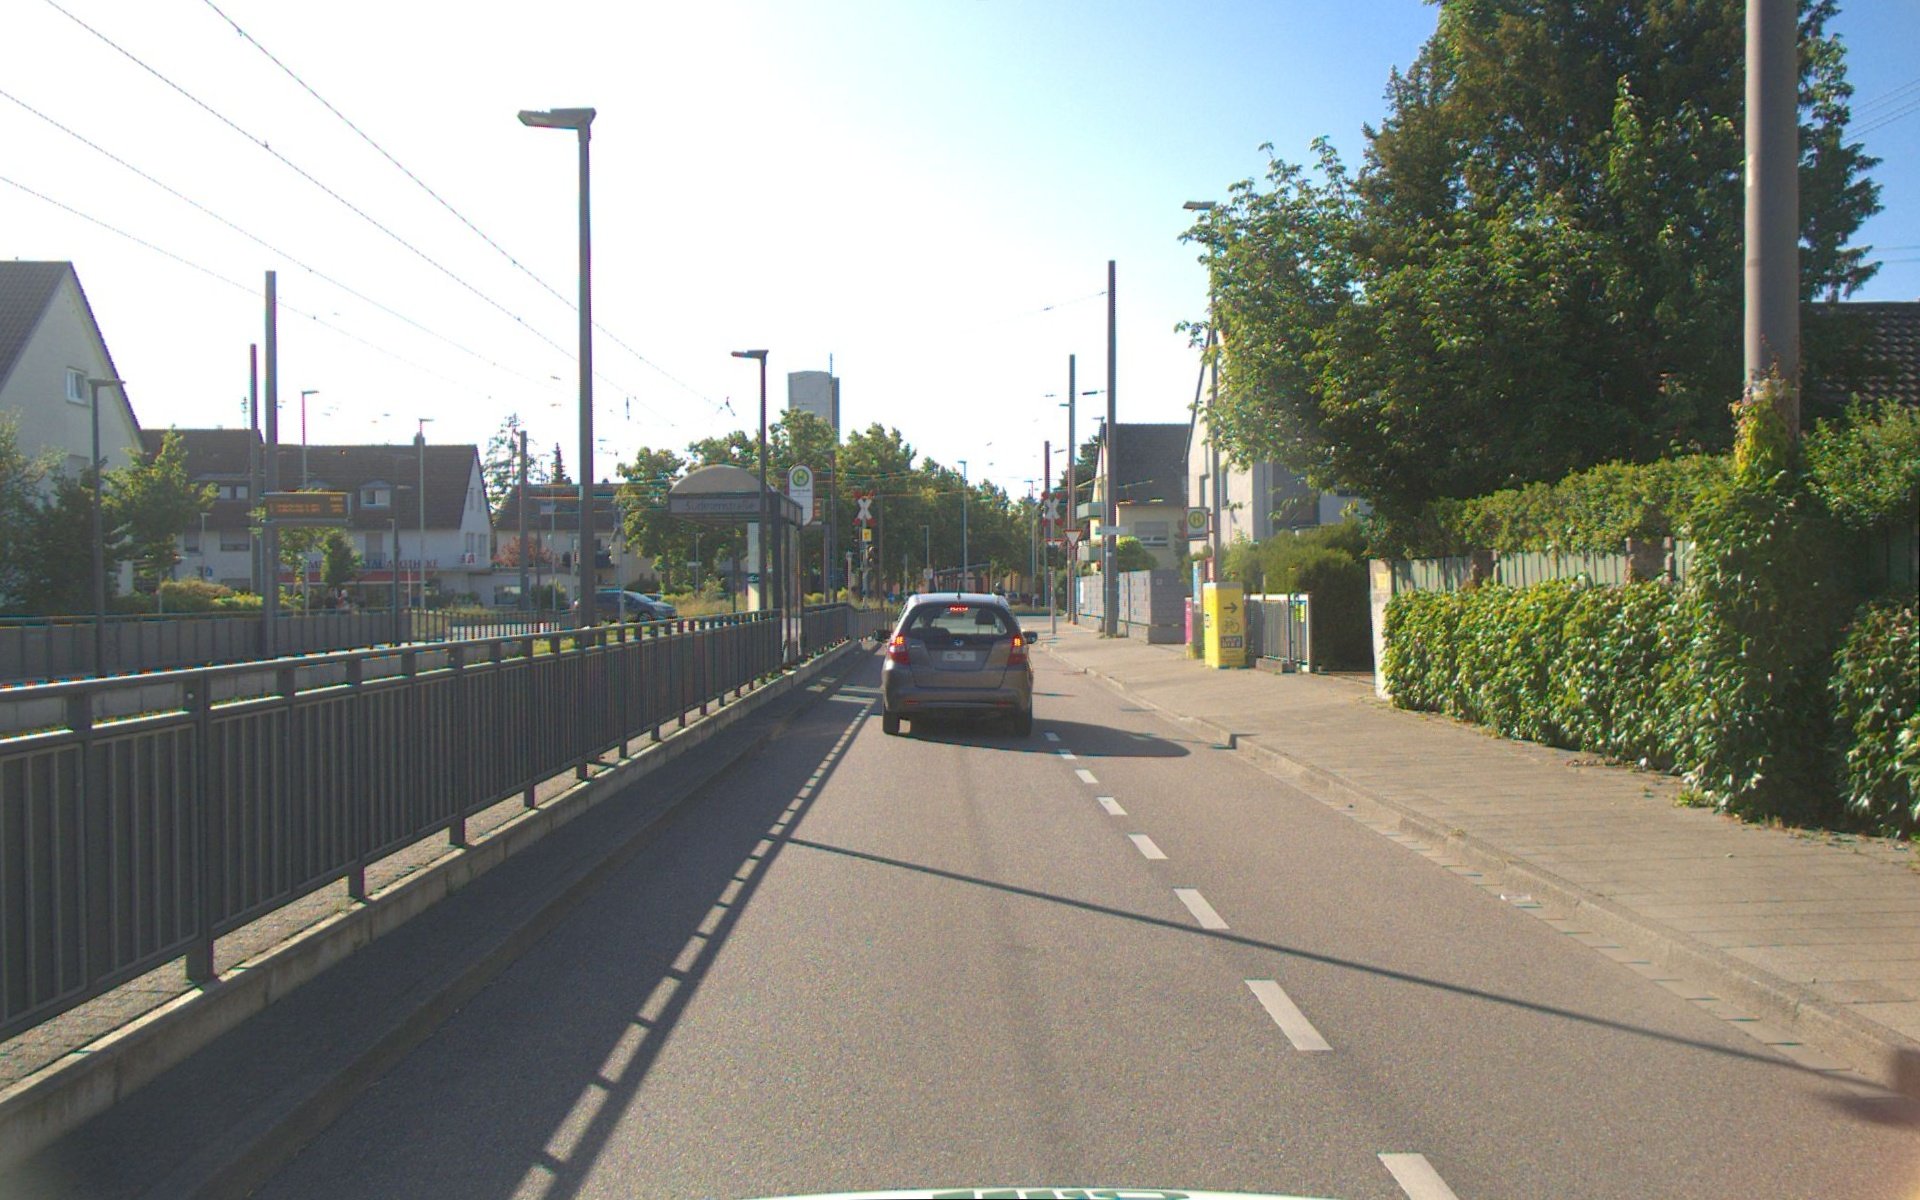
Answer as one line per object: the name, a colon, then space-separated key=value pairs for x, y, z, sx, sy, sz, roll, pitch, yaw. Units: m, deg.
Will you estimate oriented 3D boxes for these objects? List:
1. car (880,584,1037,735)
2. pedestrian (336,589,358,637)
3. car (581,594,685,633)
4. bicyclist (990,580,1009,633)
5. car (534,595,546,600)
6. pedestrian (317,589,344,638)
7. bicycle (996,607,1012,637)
car: x=-0.058 y=0.627 z=19.095 sx=1.637 sy=1.562 sz=3.486 roll=1 pitch=0 yaw=-2
pedestrian: x=-23.023 y=0.476 z=62.097 sx=0.581 sy=1.763 sz=0.689 roll=-1 pitch=0 yaw=-3
car: x=-13.905 y=0.574 z=70.355 sx=3.902 sy=1.556 sz=1.809 roll=1 pitch=-1 yaw=12
bicyclist: x=1.303 y=0.217 z=54.888 sx=0.586 sy=1.731 sz=0.683 roll=1 pitch=-1 yaw=-1
car: x=-25.800 y=-0.155 z=101.611 sx=0.684 sy=0.342 sz=0.329 roll=1 pitch=-1 yaw=4
pedestrian: x=-23.185 y=0.484 z=60.928 sx=0.714 sy=1.793 sz=0.771 roll=-1 pitch=0 yaw=-3
bicycle: x=1.463 y=0.727 z=55.042 sx=0.465 sy=0.978 sz=1.657 roll=1 pitch=-1 yaw=0
